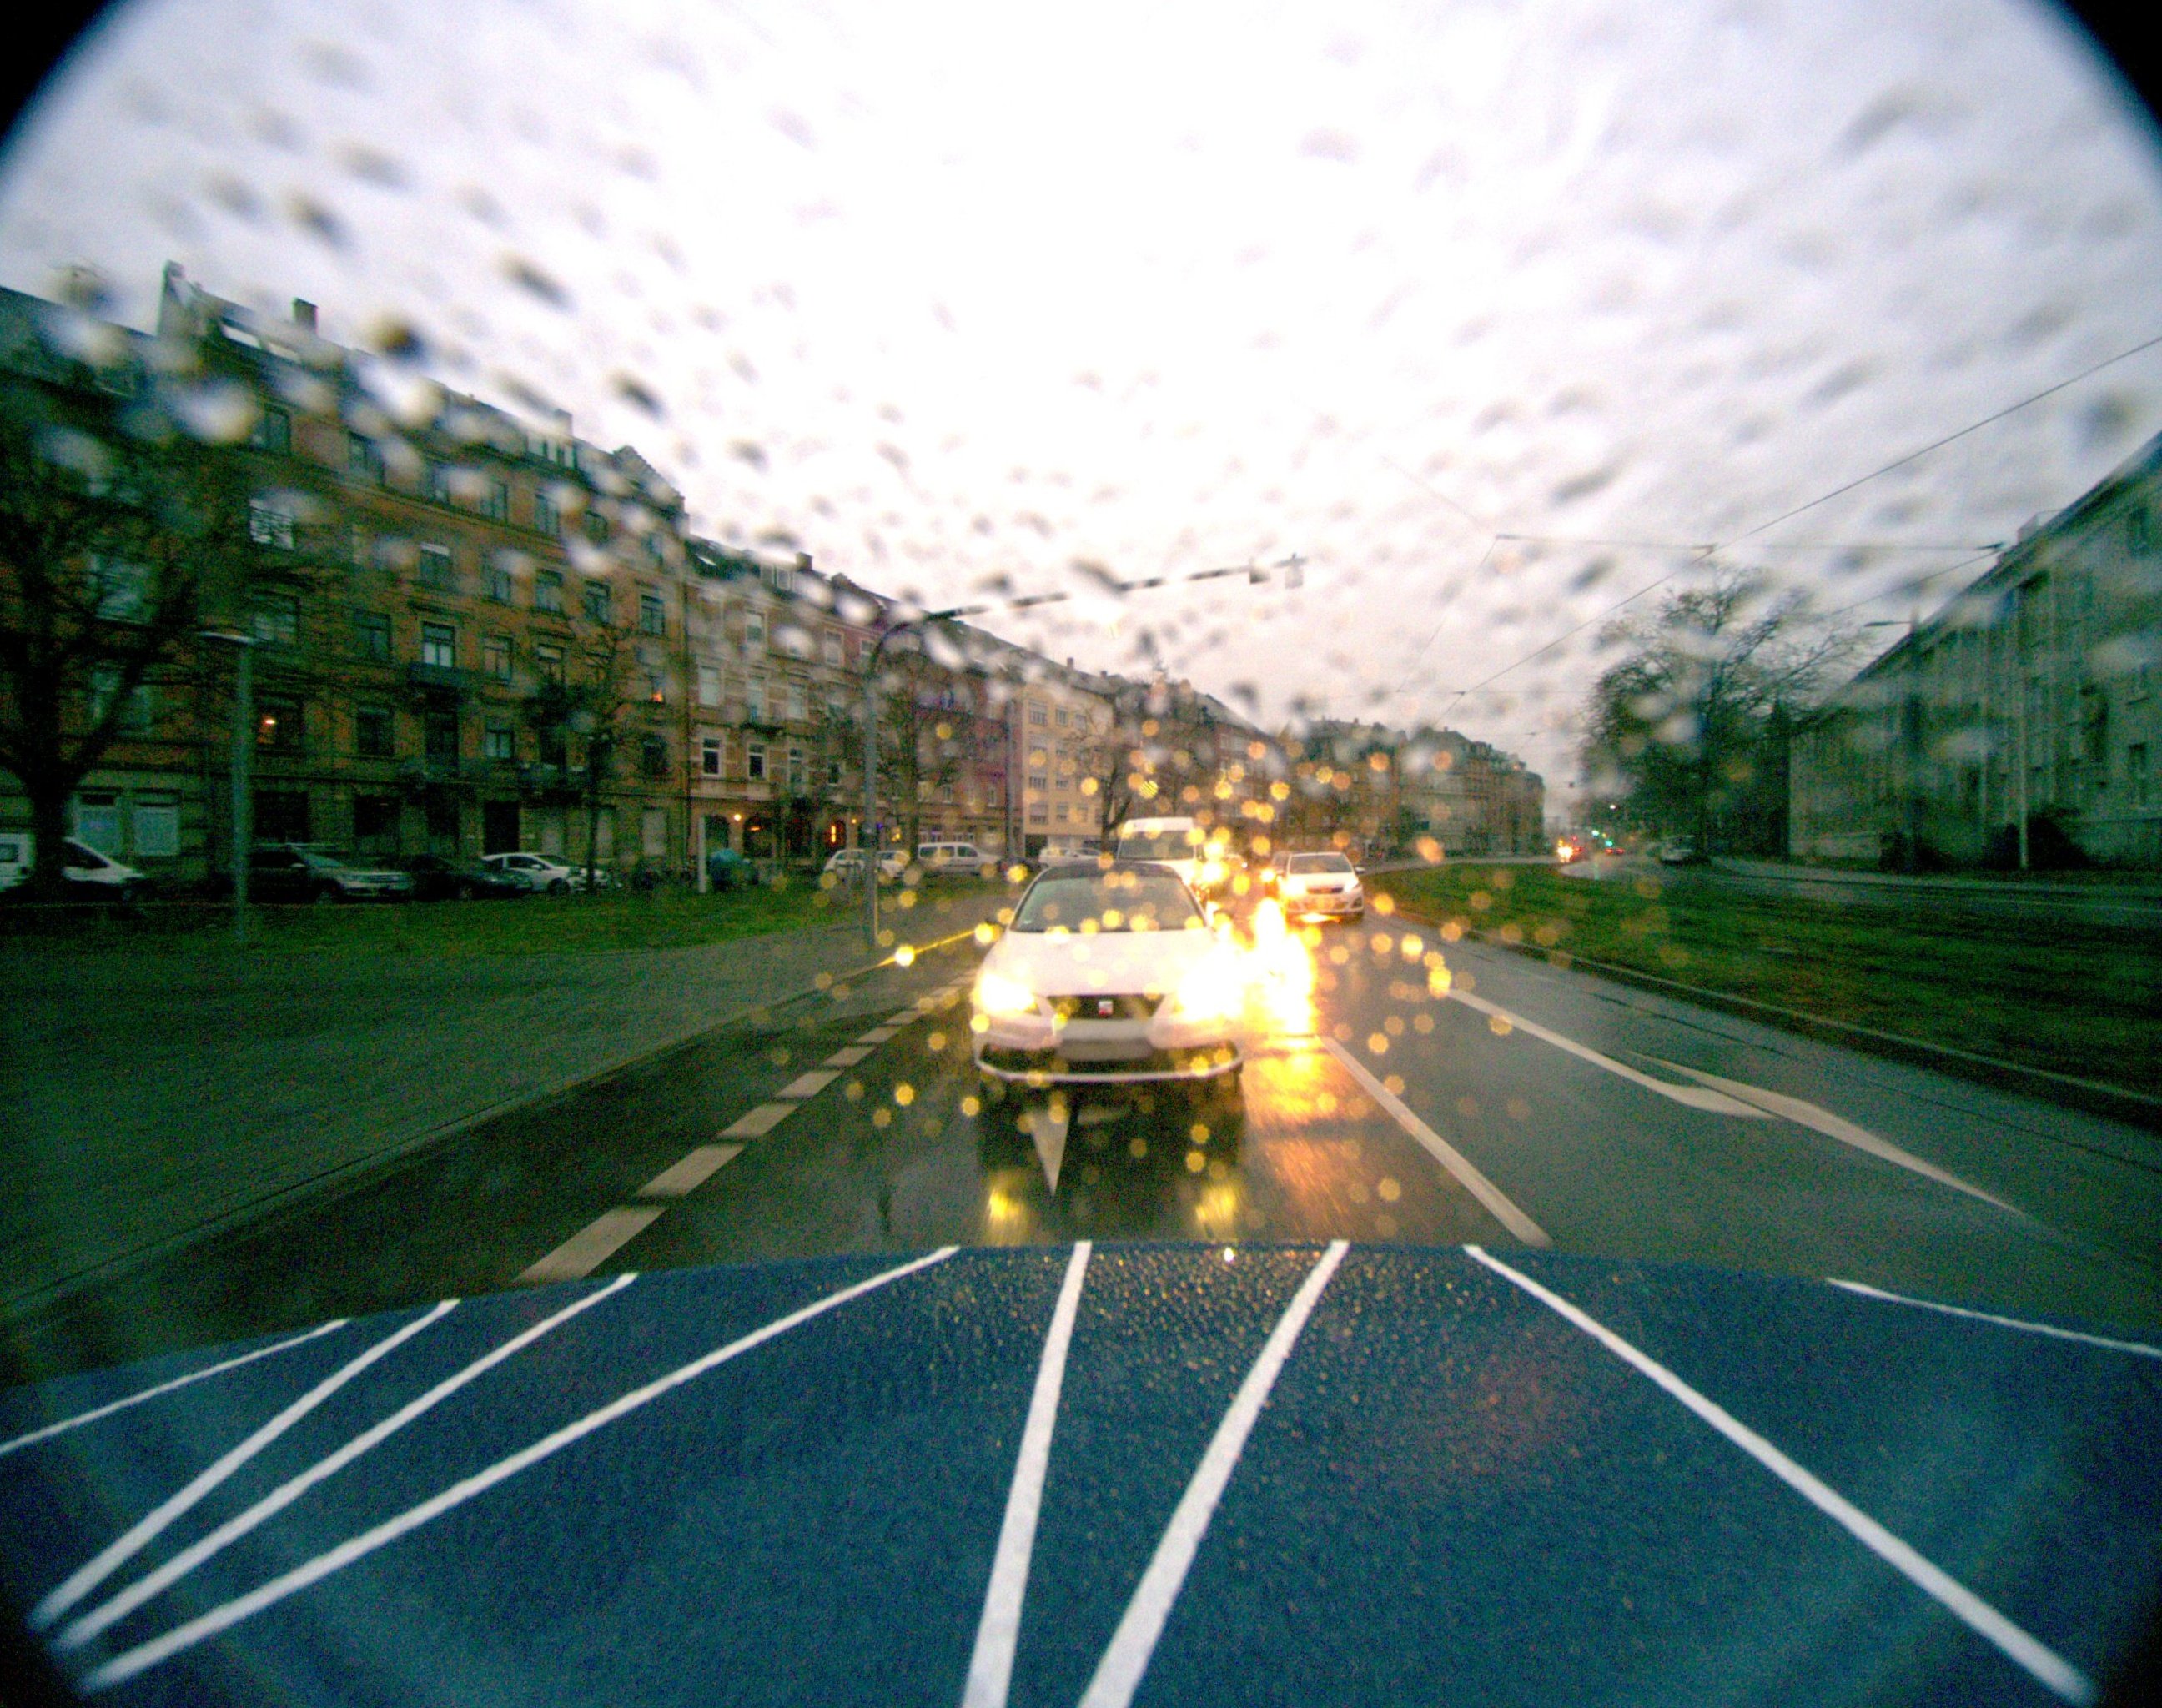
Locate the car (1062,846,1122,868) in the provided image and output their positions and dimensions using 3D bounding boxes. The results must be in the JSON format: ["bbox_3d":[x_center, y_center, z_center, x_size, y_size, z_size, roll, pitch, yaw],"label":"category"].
[{"bbox_3d":[0.712,0.185,47.936,3.609,1.362,1.619,-1,1,9],"label":"car"}]

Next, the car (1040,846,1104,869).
[{"bbox_3d":[-0.507,0.194,45.947,3.609,1.362,1.619,-1,1,9],"label":"car"}]

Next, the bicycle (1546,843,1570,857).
[{"bbox_3d":[59.273,-0.492,94.405,2.446,1.697,0.847,-1,2,31],"label":"bicycle"}]

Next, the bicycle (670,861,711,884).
[{"bbox_3d":[-14.975,0.711,29.140,1.790,0.813,0.395,2,2,26],"label":"bicycle"}]

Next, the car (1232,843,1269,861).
[{"bbox_3d":[15.349,-0.198,68.833,3.181,1.615,1.447,-1,1,13],"label":"car"}]

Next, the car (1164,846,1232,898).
[{"bbox_3d":[4.260,0.591,27.191,1.874,1.679,4.175,-1,1,15],"label":"car"}]

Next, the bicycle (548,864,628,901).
[{"bbox_3d":[-14.263,0.800,22.004,1.911,1.013,0.535,0,2,-35],"label":"bicycle"}]

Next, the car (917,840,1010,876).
[{"bbox_3d":[-5.975,0.207,38.867,4.340,1.758,1.782,-1,1,5],"label":"car"}]

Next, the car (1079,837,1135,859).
[{"bbox_3d":[1.757,-0.392,50.677,3.610,1.362,1.618,-1,1,4],"label":"car"}]

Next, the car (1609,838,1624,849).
[{"bbox_3d":[77.497,-1.503,109.961,1.686,1.630,3.654,0,1,35],"label":"car"}]

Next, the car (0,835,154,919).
[{"bbox_3d":[-28.886,0.601,20.508,1.994,2.176,4.670,0,1,34],"label":"car"}]

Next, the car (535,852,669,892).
[{"bbox_3d":[-16.408,0.599,26.121,3.684,1.298,1.521,-1,1,4],"label":"car"}]

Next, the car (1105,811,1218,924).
[{"bbox_3d":[2.261,0.277,19.619,2.239,2.448,5.674,-1,1,12],"label":"car"}]

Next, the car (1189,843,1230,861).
[{"bbox_3d":[10.470,-0.144,61.801,3.181,1.420,1.429,-1,1,13],"label":"car"}]

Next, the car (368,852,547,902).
[{"bbox_3d":[-17.508,0.630,21.442,3.684,1.298,1.742,-1,1,4],"label":"car"}]

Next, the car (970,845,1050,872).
[{"bbox_3d":[-3.832,0.236,41.084,3.958,1.436,1.703,-1,1,10],"label":"car"}]

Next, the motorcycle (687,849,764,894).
[{"bbox_3d":[-11.715,0.558,25.053,2.352,1.338,0.886,2,3,19],"label":"motorcycle"}]

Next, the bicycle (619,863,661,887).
[{"bbox_3d":[-16.017,0.740,27.577,1.790,0.790,0.447,2,2,29],"label":"bicycle"}]

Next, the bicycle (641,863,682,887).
[{"bbox_3d":[-15.510,0.765,28.054,1.790,0.773,0.447,2,2,29],"label":"bicycle"}]

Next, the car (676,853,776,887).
[{"bbox_3d":[-14.314,0.625,30.726,3.297,1.298,1.522,-1,1,6],"label":"car"}]

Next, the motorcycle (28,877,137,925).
[{"bbox_3d":[-20.935,0.983,15.940,1.793,0.926,0.513,1,2,6],"label":"motorcycle"}]

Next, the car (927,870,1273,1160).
[{"bbox_3d":[0.187,0.907,6.146,1.787,1.370,4.223,-2,0,2],"label":"car"}]

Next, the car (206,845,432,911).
[{"bbox_3d":[-19.268,0.586,19.310,4.152,1.560,1.742,-1,1,4],"label":"car"}]

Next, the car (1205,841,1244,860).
[{"bbox_3d":[12.173,-0.302,64.251,3.181,1.615,1.429,-1,1,13],"label":"car"}]

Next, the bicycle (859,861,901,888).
[{"bbox_3d":[-7.515,0.747,28.414,1.790,0.926,0.447,2,2,34],"label":"bicycle"}]

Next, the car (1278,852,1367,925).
[{"bbox_3d":[5.254,0.697,16.865,1.687,1.422,3.350,-1,1,15],"label":"car"}]

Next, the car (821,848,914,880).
[{"bbox_3d":[-9.546,0.444,34.082,3.684,1.391,1.522,-1,1,6],"label":"car"}]

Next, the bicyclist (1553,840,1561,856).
[{"bbox_3d":[59.197,-0.781,94.441,0.777,2.002,0.831,-1,2,32],"label":"bicyclist"}]

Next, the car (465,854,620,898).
[{"bbox_3d":[-16.708,0.665,23.667,3.684,1.298,1.669,-1,1,4],"label":"car"}]

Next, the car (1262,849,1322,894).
[{"bbox_3d":[7.523,0.589,27.190,1.874,1.466,4.175,-1,0,15],"label":"car"}]

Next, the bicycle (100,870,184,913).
[{"bbox_3d":[-21.927,0.867,17.741,1.792,0.926,0.446,1,2,11],"label":"bicycle"}]

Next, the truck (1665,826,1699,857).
[{"bbox_3d":[42.473,-0.872,53.737,1.833,2.032,4.008,0,1,38],"label":"truck"}]

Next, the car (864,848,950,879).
[{"bbox_3d":[-8.346,0.455,36.554,3.684,1.428,1.522,-1,1,6],"label":"car"}]

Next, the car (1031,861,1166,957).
[{"bbox_3d":[0.467,0.882,13.672,1.721,1.380,3.825,-1,1,12],"label":"car"}]

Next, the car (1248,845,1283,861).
[{"bbox_3d":[17.304,-0.099,71.159,3.180,1.405,1.383,-1,1,15],"label":"car"}]
